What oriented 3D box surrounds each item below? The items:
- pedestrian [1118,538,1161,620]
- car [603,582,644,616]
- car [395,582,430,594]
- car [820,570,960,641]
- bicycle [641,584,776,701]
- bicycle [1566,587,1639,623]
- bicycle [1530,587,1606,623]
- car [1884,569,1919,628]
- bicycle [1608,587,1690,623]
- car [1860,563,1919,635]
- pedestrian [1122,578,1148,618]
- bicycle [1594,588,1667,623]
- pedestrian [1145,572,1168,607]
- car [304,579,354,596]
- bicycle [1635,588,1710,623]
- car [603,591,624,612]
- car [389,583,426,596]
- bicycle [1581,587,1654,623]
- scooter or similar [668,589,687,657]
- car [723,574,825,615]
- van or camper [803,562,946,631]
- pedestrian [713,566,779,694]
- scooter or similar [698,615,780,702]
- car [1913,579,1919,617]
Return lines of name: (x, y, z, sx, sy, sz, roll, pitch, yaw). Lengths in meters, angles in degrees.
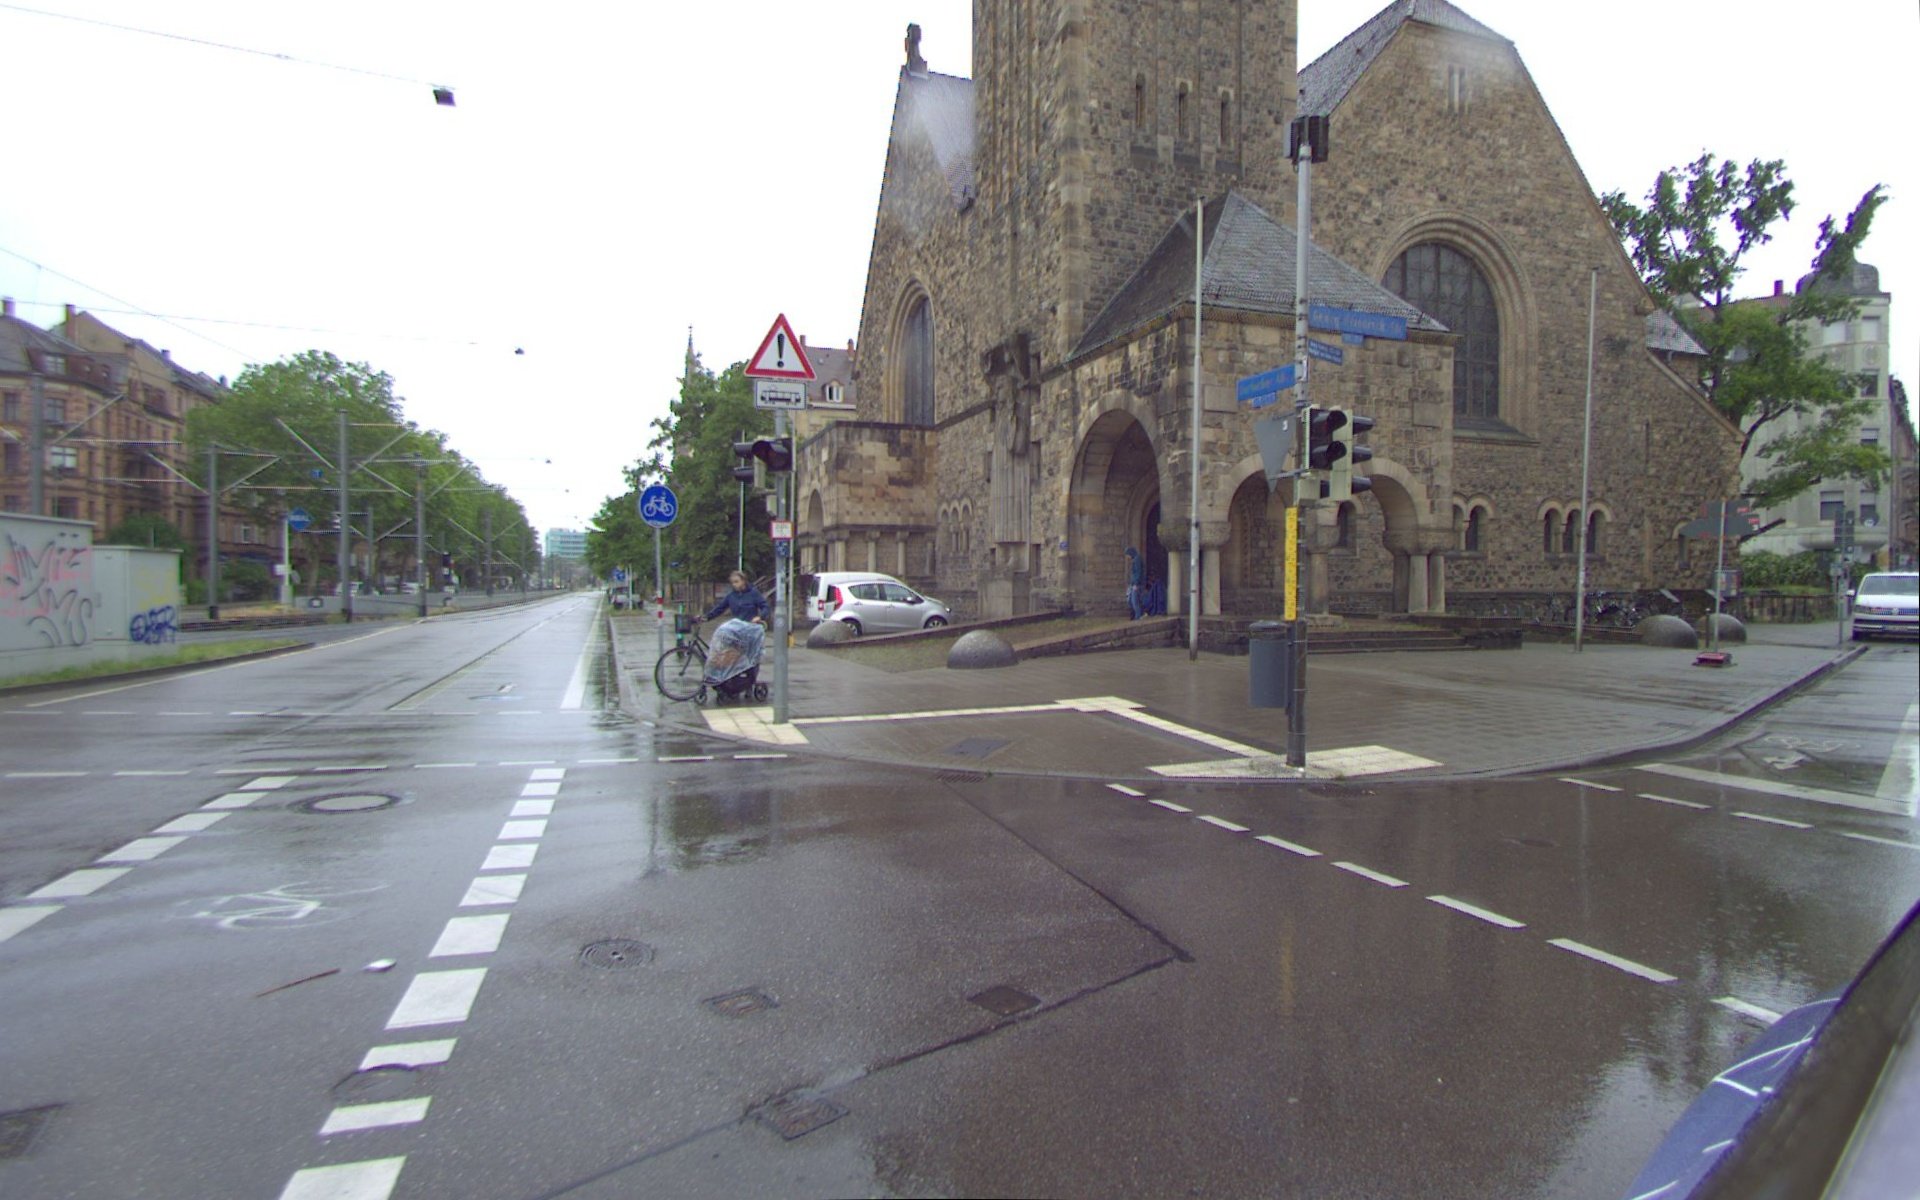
pedestrian: (3.840, -0.450, 21.634, 0.664, 1.724, 0.635, 0, 1, -23)
car: (-19.247, -0.086, 57.762, 1.939, 1.816, 4.008, -1, 1, -23)
car: (-71.074, -1.568, 131.377, 3.740, 1.644, 1.780, 0, 1, -20)
car: (-1.874, 0.113, 26.699, 3.289, 1.593, 1.740, -4, 2, -17)
bicycle: (-3.407, 0.530, 13.861, 0.530, 1.485, 1.915, 0, 1, 36)
bicycle: (20.130, 0.146, 31.752, 0.569, 1.073, 1.932, 0, 1, -24)
bicycle: (18.843, 0.144, 31.412, 0.565, 1.062, 2.013, 0, 2, -26)
car: (32.144, -0.064, 33.646, 4.225, 1.869, 1.834, -1, 2, -44)
bicycle: (22.123, 0.137, 32.542, 0.664, 1.073, 2.160, 0, 1, -22)
car: (27.545, -0.068, 29.241, 5.186, 1.946, 1.906, -1, 2, -44)
pedestrian: (3.877, -0.048, 22.444, 0.388, 0.895, 0.457, 0, 1, -23)
bicycle: (21.366, 0.159, 32.288, 0.569, 1.073, 1.932, 0, 1, -22)
pedestrian: (5.152, -0.274, 26.523, 0.447, 0.895, 0.397, 0, 1, -21)
car: (-59.069, -1.183, 94.754, 3.759, 1.644, 1.771, -1, 1, -45)
bicycle: (22.968, 0.164, 32.675, 0.593, 1.080, 1.987, 0, 1, -21)
car: (-31.289, 0.108, 91.372, 1.744, 1.799, 4.009, -1, 1, -20)
car: (-66.296, -1.276, 121.462, 3.740, 1.644, 1.780, 0, 1, -20)
bicycle: (20.763, 0.153, 32.008, 0.569, 1.073, 1.932, 0, 1, -22)
scooter or similar: (-6.046, 0.474, 21.643, 0.280, 1.404, 1.106, 0, 0, -21)
car: (-7.779, -0.254, 42.228, 3.916, 1.638, 2.004, -1, 1, -20)
van or camper: (-2.544, -0.143, 30.023, 3.849, 1.749, 1.652, -4, 2, -20)
pedestrian: (-2.924, 0.391, 13.807, 0.677, 1.684, 0.604, 0, 0, -41)
scooter or similar: (-2.864, 0.741, 13.139, 0.908, 1.062, 0.514, 0, 1, -41)
car: (41.666, -0.081, 42.889, 3.854, 1.569, 1.672, -1, 2, -44)
